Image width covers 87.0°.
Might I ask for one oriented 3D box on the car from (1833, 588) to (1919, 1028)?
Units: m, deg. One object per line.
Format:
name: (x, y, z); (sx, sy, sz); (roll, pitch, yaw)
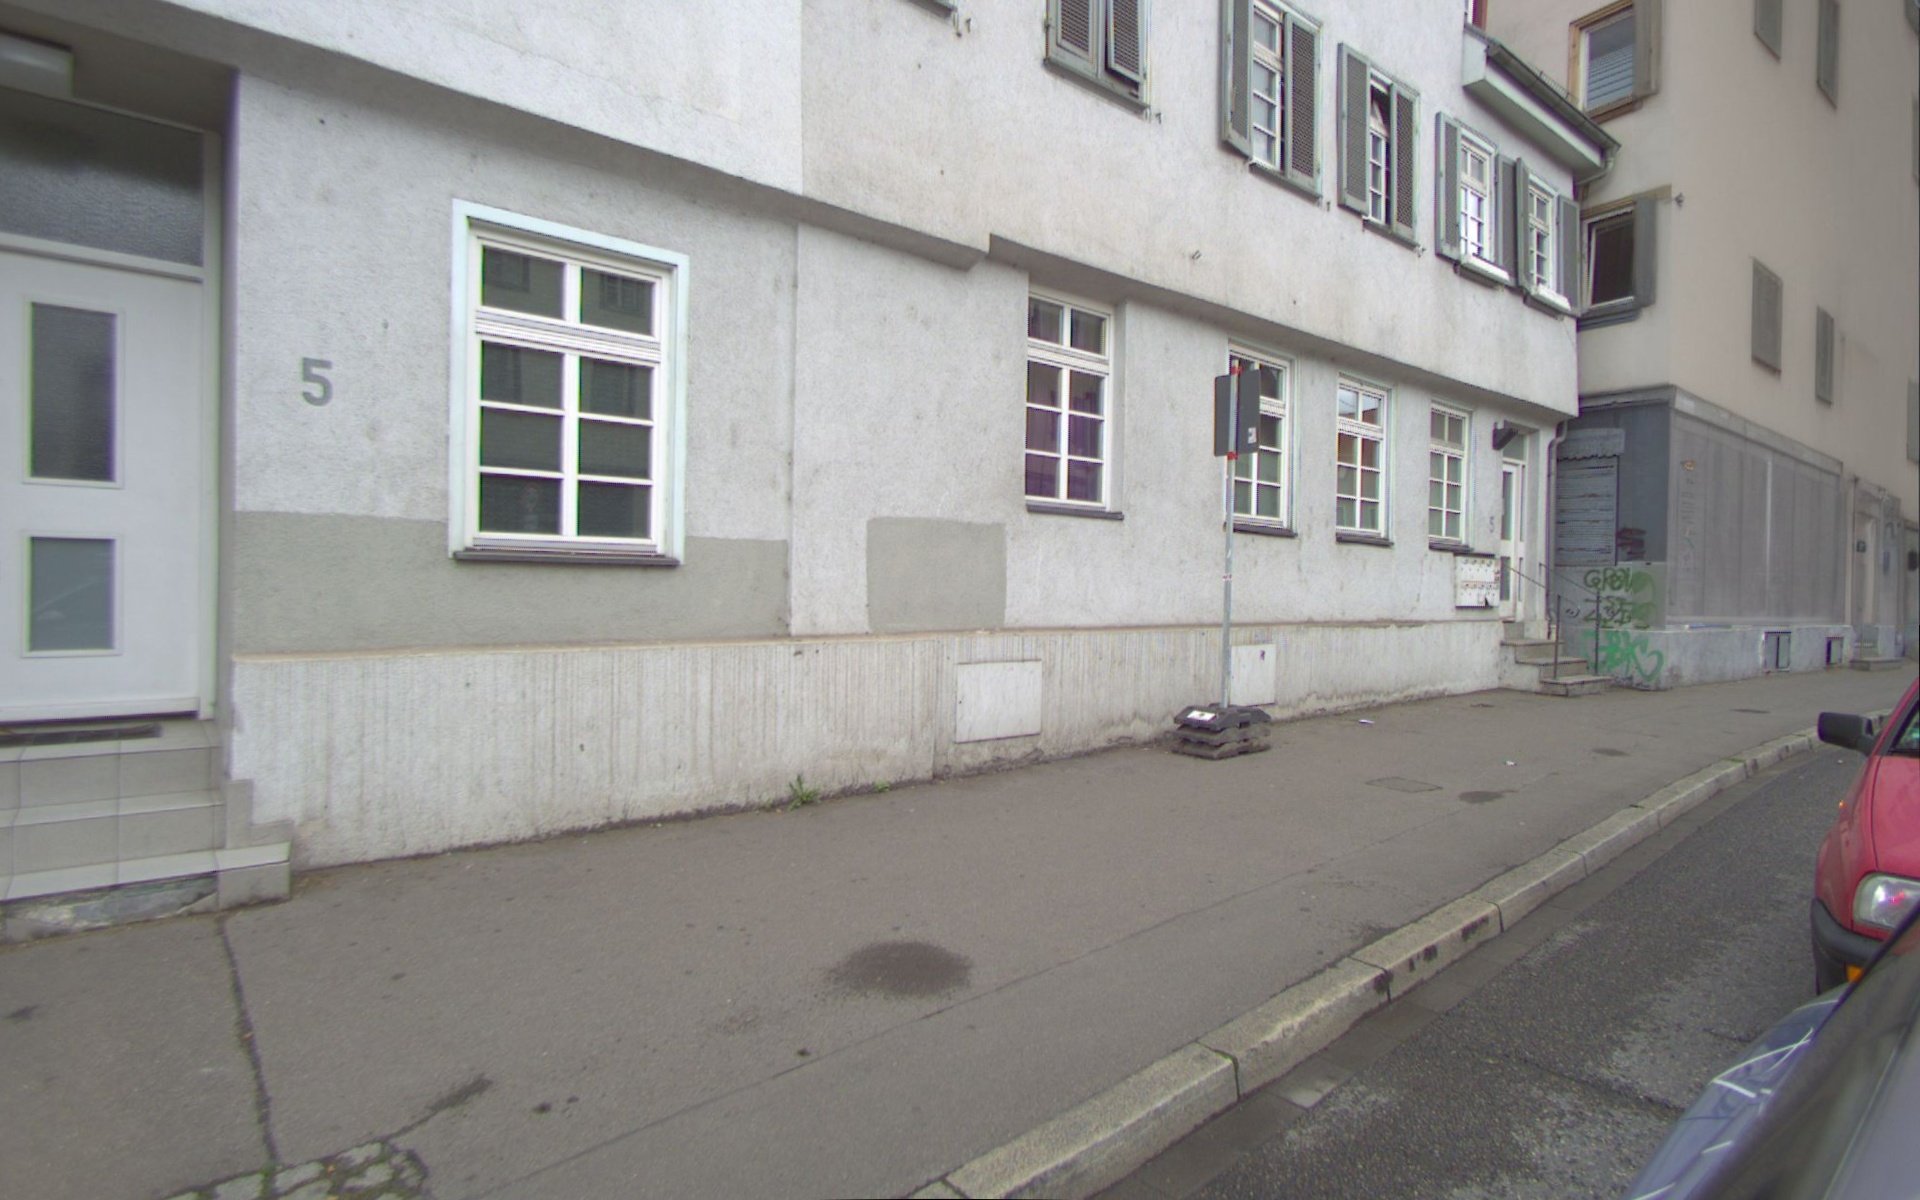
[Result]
car: (5.060, 0.701, 4.144); (3.950, 1.445, 1.684); (0, 1, -41)
